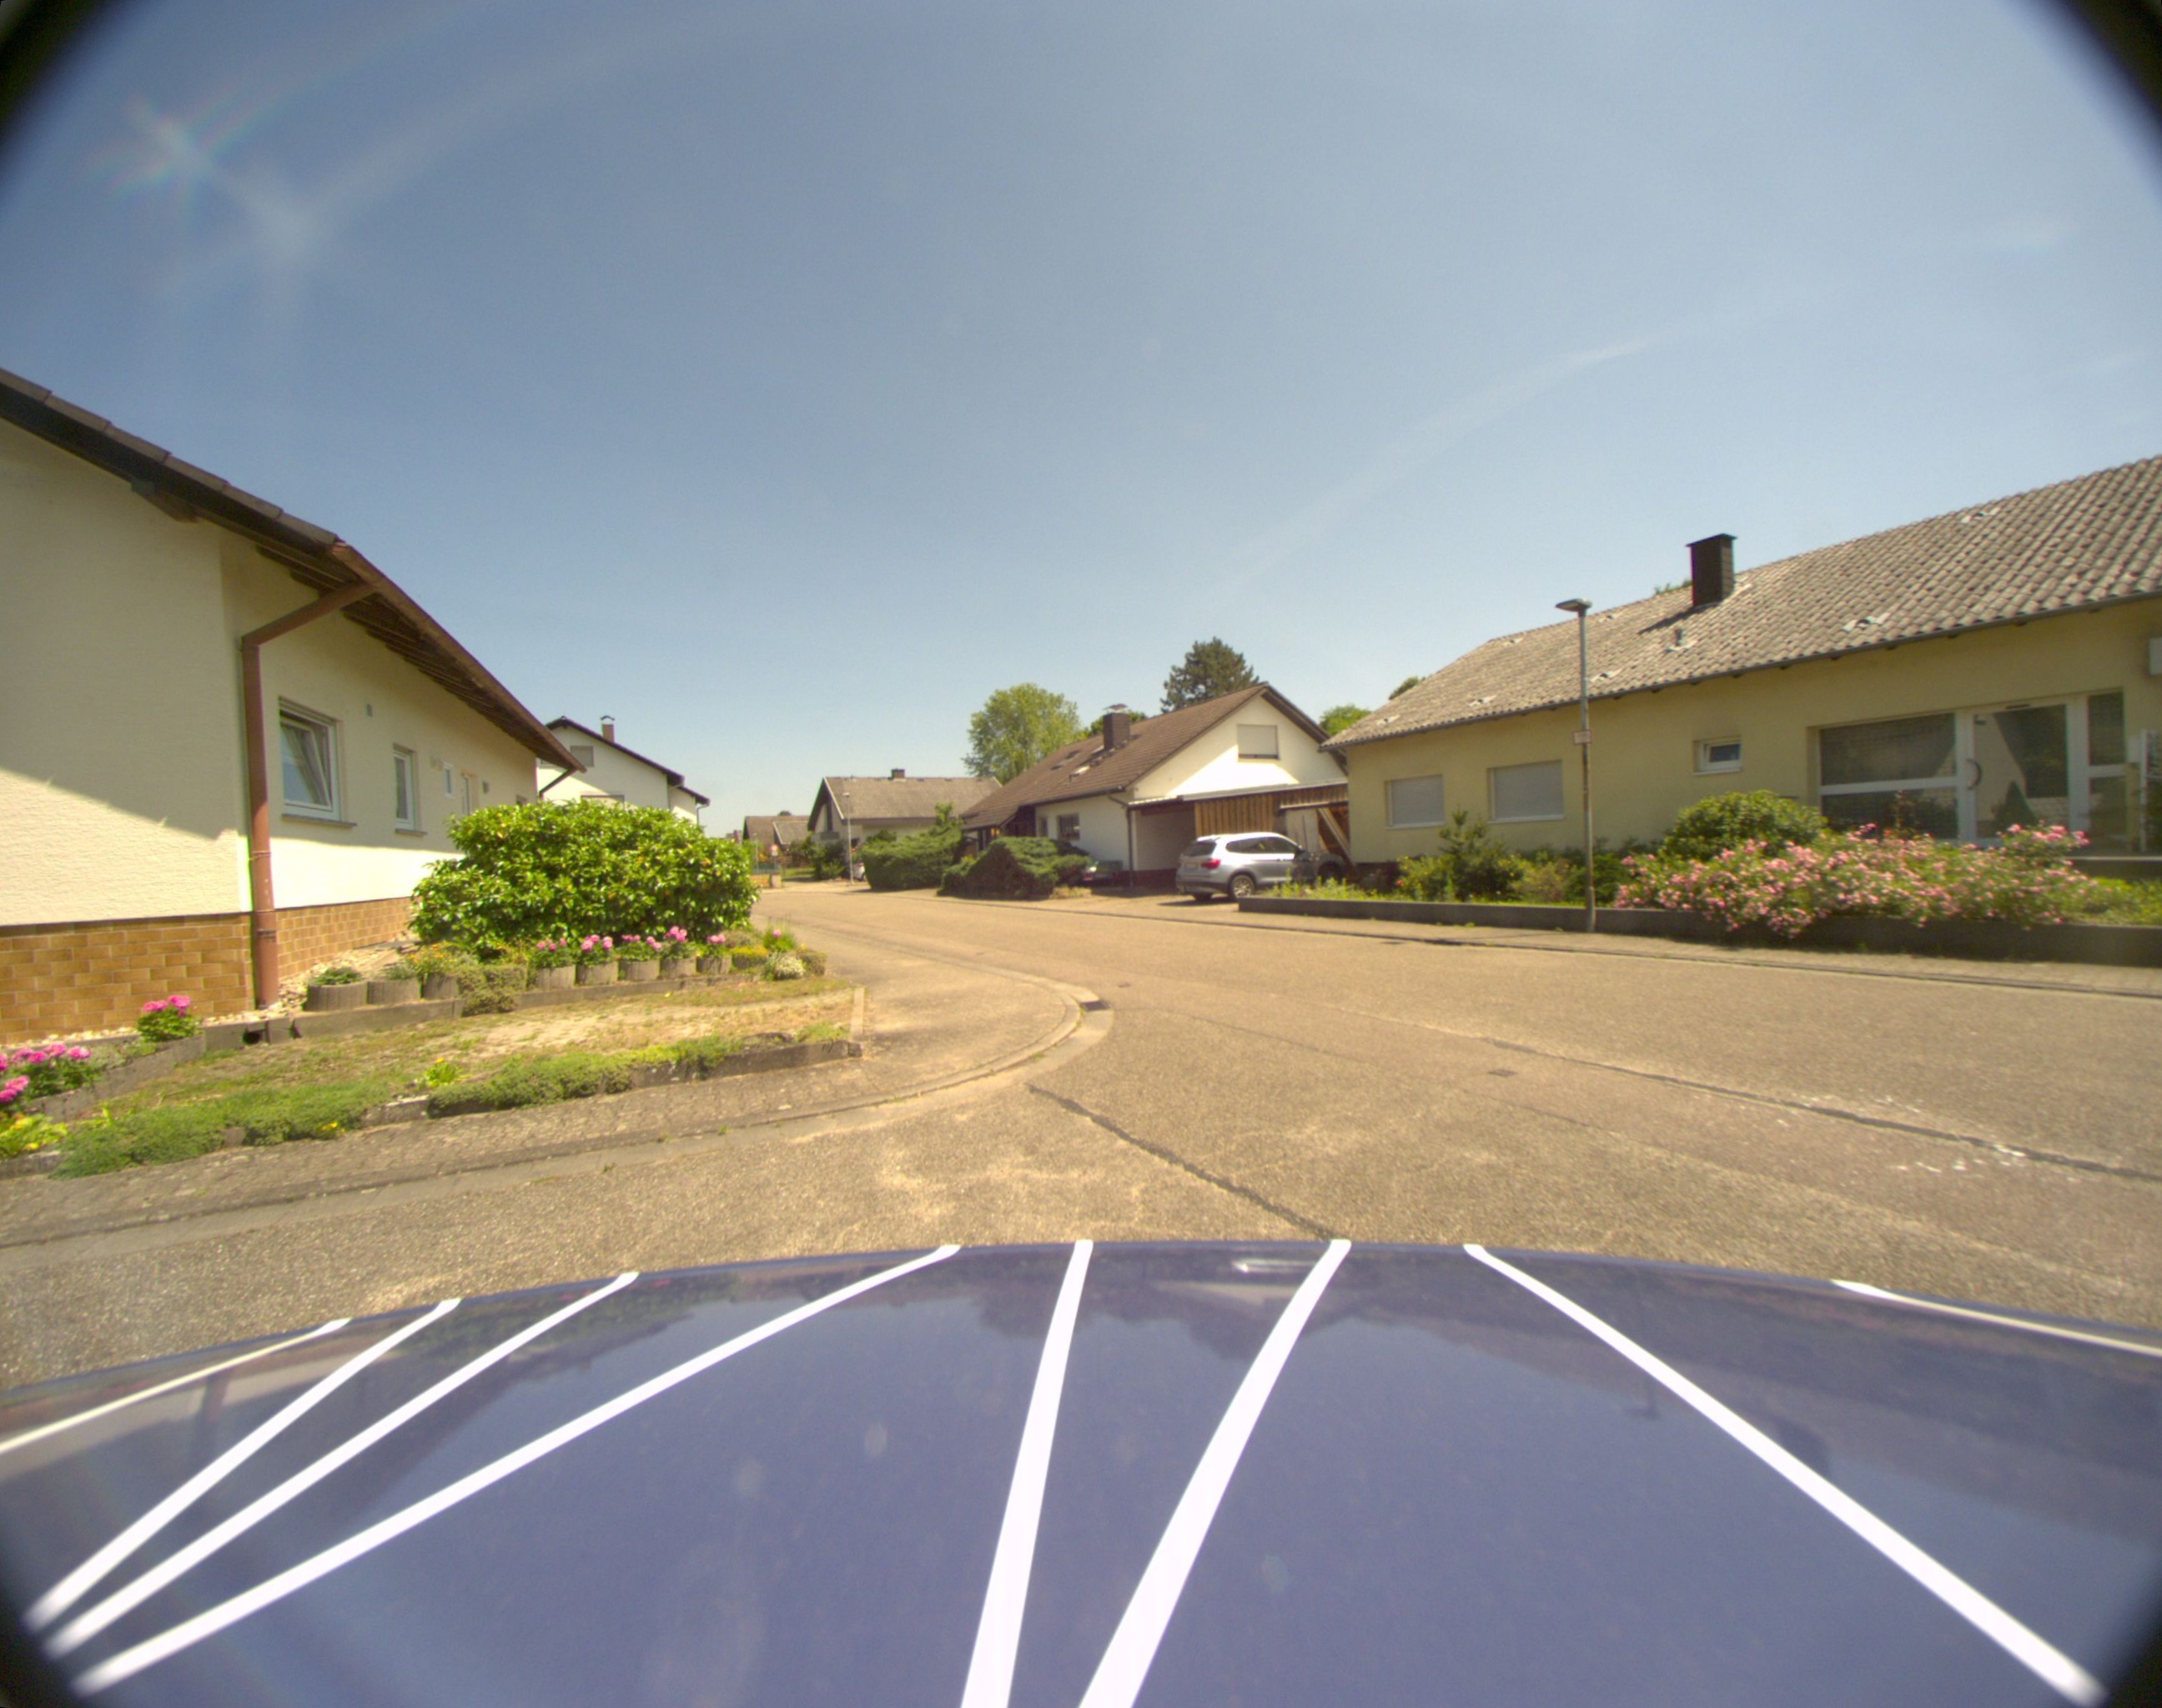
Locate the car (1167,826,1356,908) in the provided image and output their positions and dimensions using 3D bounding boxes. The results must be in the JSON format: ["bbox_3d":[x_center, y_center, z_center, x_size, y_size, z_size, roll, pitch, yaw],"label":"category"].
[{"bbox_3d":[4.705,0.272,19.713,4.647,1.692,1.706,-4,2,-25],"label":"car"}]

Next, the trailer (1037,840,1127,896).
[{"bbox_3d":[-0.029,0.432,25.782,1.594,1.663,3.289,-5,2,-28],"label":"trailer"}]
